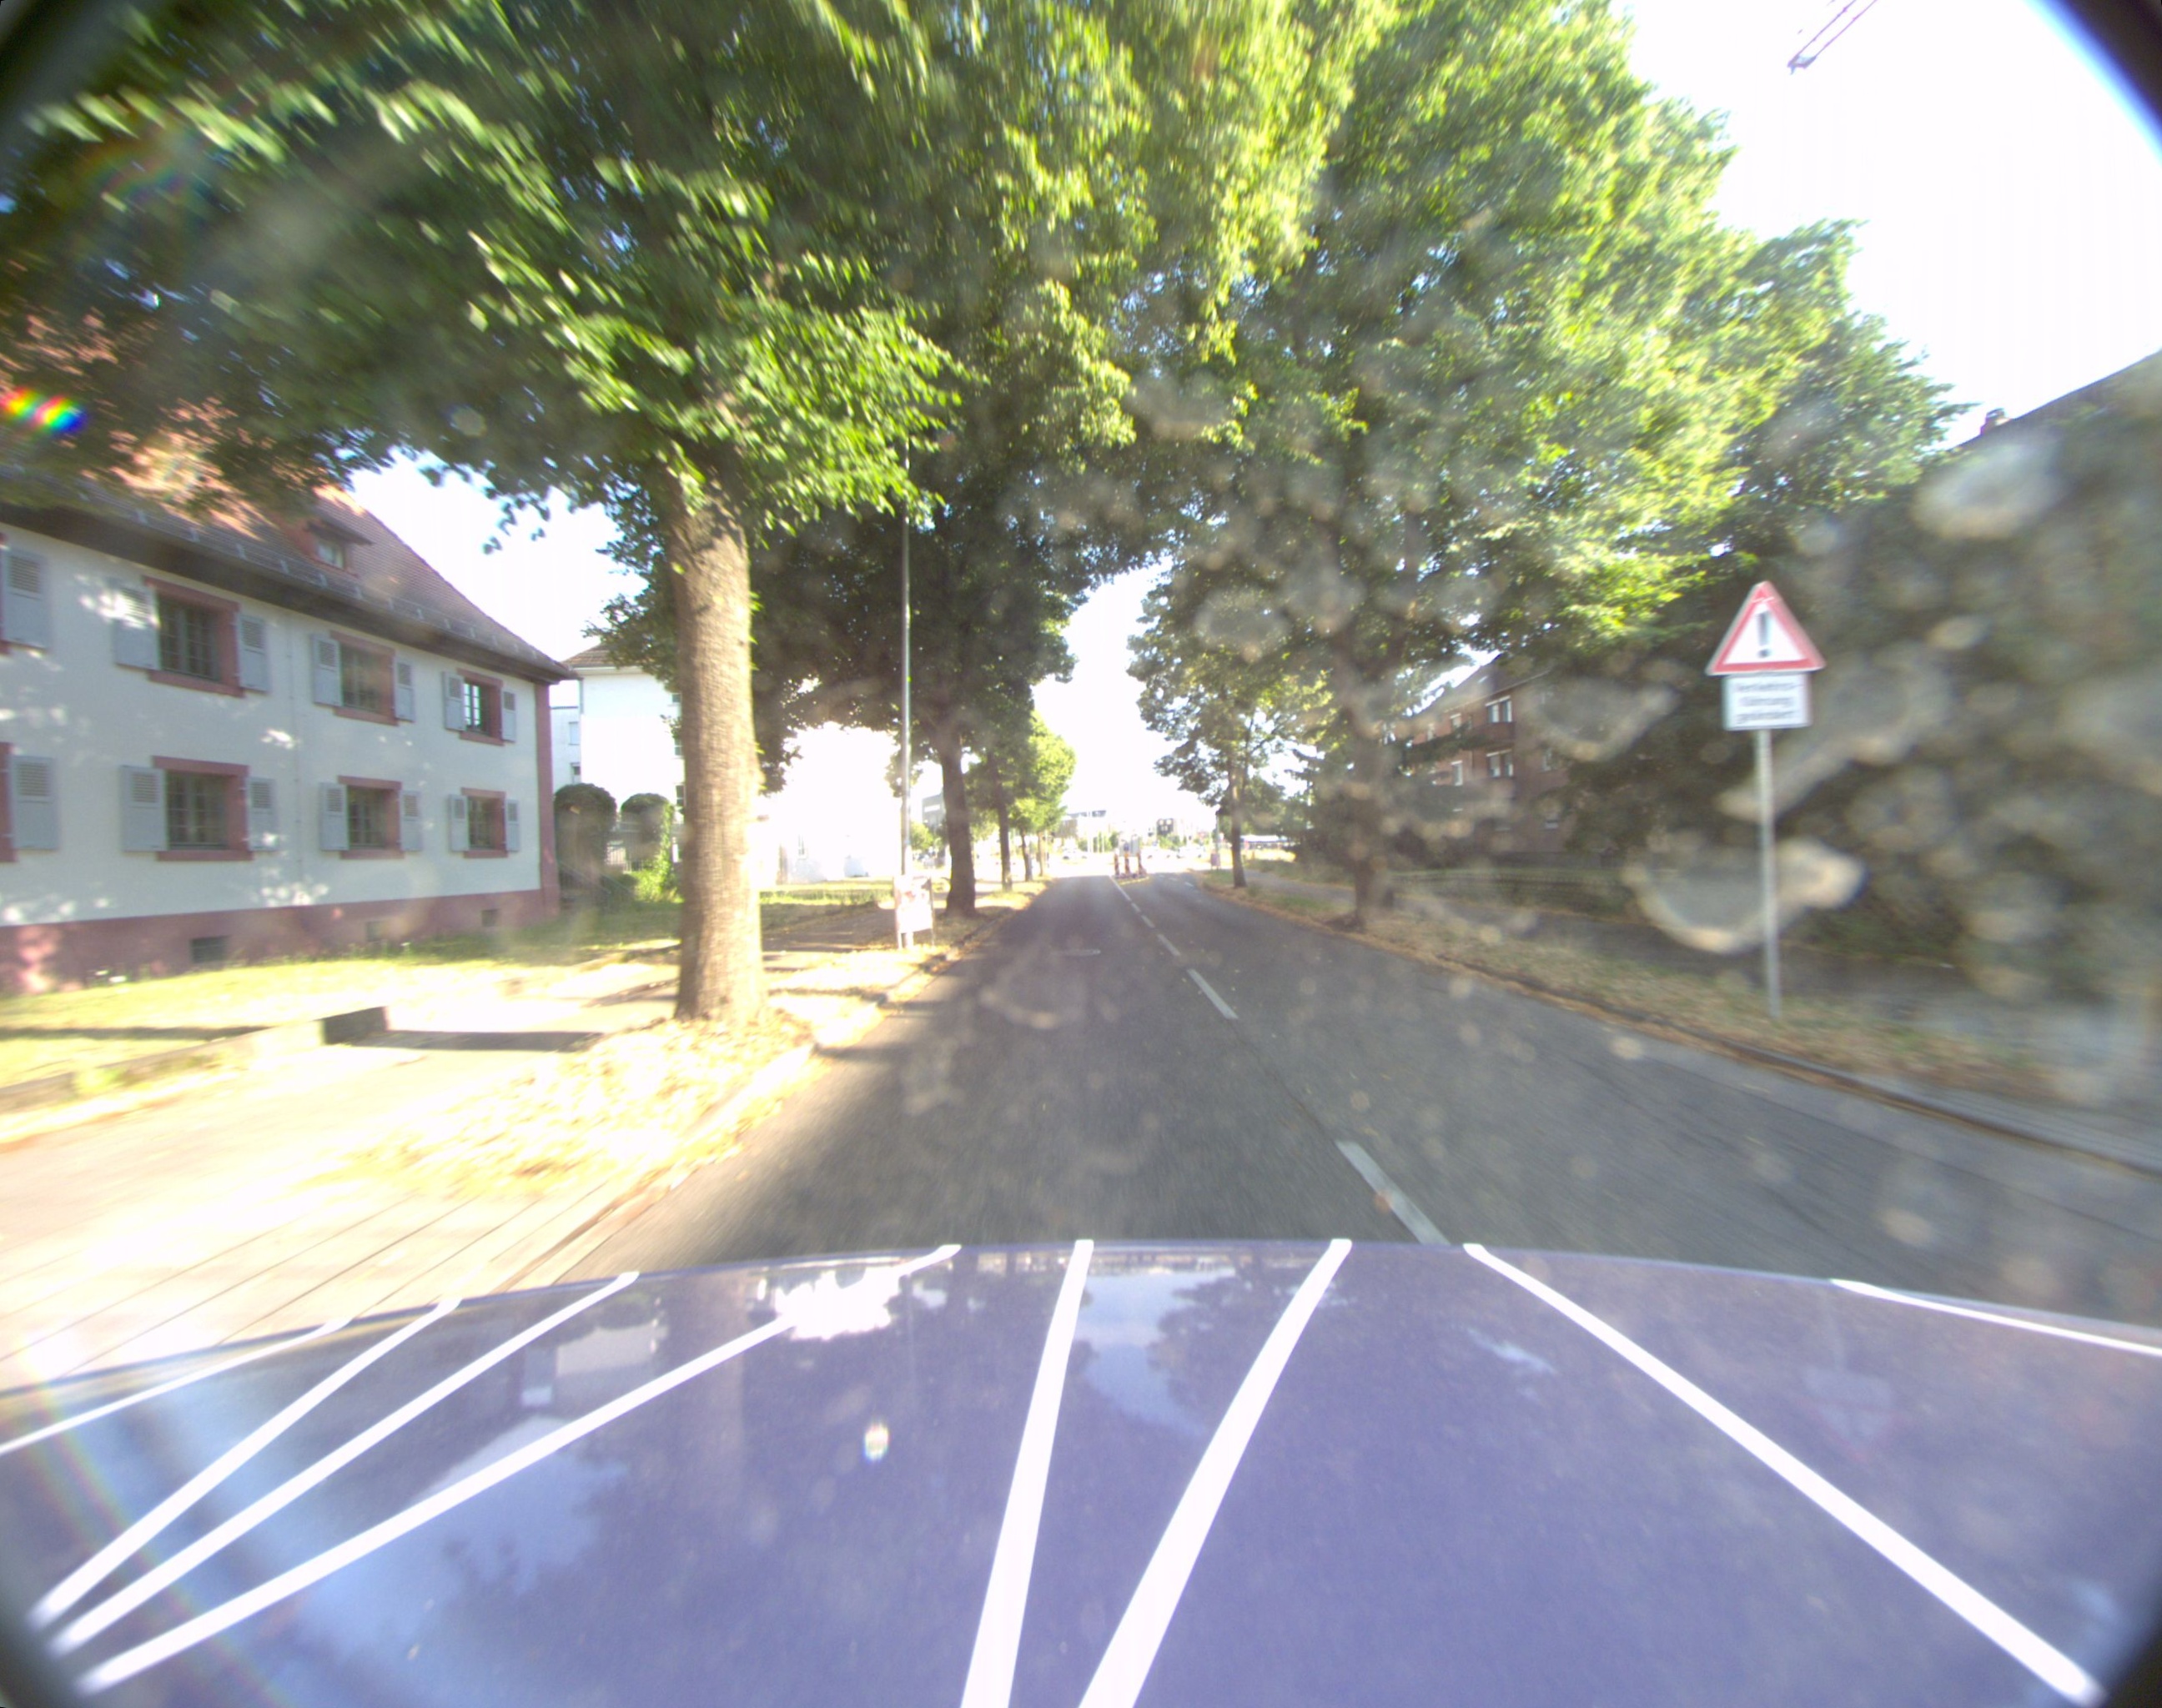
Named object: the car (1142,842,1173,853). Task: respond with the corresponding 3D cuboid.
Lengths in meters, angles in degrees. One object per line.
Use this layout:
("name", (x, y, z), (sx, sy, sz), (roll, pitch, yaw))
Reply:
("car", (11.106, -0.951, 110.293), (4.000, 1.521, 1.998), (-1, 1, -9))

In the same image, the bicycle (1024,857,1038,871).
("bicycle", (-4.375, 0.847, 66.221), (0.641, 1.117, 2.121), (-3, 1, -20))

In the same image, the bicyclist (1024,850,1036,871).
("bicyclist", (-4.428, 0.528, 66.269), (0.729, 1.790, 0.936), (-3, 2, -22))

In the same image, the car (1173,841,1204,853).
("car", (15.338, -0.998, 108.338), (4.004, 1.521, 1.996), (-1, 1, -22))

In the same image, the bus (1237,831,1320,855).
("bus", (28.999, -1.689, 111.616), (12.186, 3.044, 2.662), (-2, 1, -17))

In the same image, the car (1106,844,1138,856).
("car", (5.664, -0.571, 105.073), (4.264, 1.521, 2.000), (0, 1, 0))

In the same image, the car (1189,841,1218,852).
("car", (18.684, -1.150, 116.097), (4.003, 1.521, 1.775), (-1, 1, -20))

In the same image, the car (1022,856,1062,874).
("car", (-4.072, 1.163, 79.111), (3.618, 1.412, 1.767), (-8, -3, 23))

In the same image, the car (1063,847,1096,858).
("car", (-0.207, -0.222, 109.580), (4.583, 1.376, 2.095), (-2, 1, 7))

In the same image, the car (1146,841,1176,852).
("car", (11.891, -1.110, 113.120), (4.003, 1.521, 1.775), (-1, 1, -19))
